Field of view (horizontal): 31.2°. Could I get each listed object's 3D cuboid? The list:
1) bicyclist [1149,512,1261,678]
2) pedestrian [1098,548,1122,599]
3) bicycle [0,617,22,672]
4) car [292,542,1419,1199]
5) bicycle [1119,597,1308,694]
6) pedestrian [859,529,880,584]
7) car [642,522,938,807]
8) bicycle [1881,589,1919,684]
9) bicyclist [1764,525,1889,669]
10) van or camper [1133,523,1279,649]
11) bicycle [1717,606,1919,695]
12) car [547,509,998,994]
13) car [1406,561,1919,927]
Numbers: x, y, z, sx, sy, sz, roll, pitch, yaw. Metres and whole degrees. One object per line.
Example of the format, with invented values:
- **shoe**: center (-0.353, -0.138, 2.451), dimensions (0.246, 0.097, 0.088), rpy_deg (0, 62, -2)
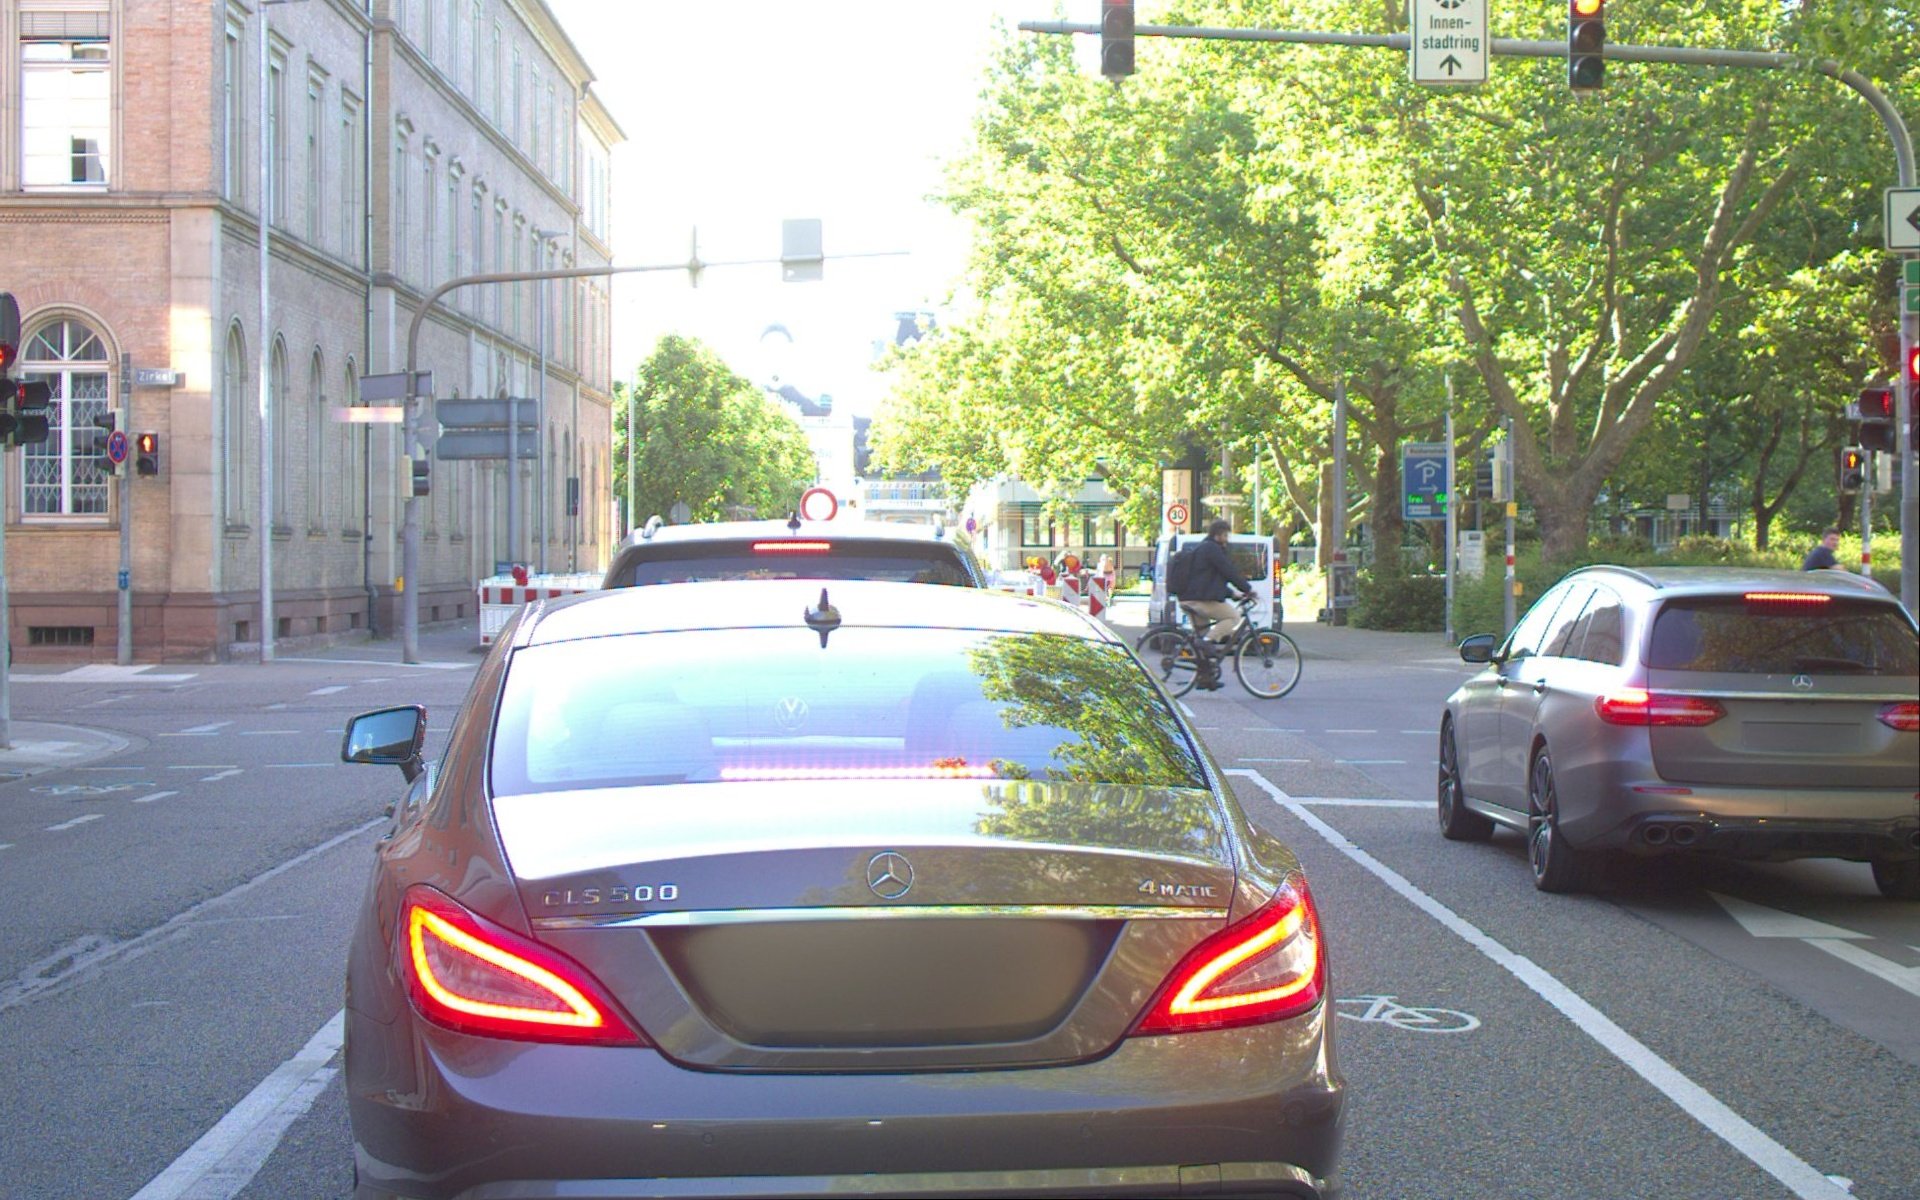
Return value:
- **bicyclist**: center (2.447, -0.050, 34.401), dimensions (1.014, 1.637, 0.608), rpy_deg (0, 1, -6)
- **pedestrian**: center (4.234, -0.762, 96.978), dimensions (0.648, 1.428, 0.659), rpy_deg (0, 1, -1)
- **bicycle**: center (-12.003, 0.528, 40.840), dimensions (1.587, 0.632, 0.496), rpy_deg (0, 1, 3)
- **car**: center (-0.440, 0.607, 7.656), dimensions (1.803, 1.451, 4.352), rpy_deg (0, 1, -8)
- **bicycle**: center (2.534, 0.454, 34.414), dimensions (1.793, 0.943, 0.614), rpy_deg (1, 1, -6)
- **pedestrian**: center (-3.161, -1.523, 120.261), dimensions (0.721, 1.895, 0.704), rpy_deg (1, 1, -1)
- **car**: center (-1.074, 0.364, 23.256), dimensions (1.820, 1.756, 4.000), rpy_deg (0, 1, -1)
- **bicycle**: center (11.196, 0.404, 37.742), dimensions (1.980, 1.024, 0.651), rpy_deg (0, 1, 1)
- **bicyclist**: center (9.070, -0.039, 36.020), dimensions (1.116, 1.485, 0.712), rpy_deg (0, 1, -1)
- **van or camper**: center (3.926, -0.249, 55.587), dimensions (1.993, 1.935, 4.594), rpy_deg (1, 1, 0)
- **bicycle**: center (9.010, 0.526, 36.016), dimensions (1.986, 0.900, 0.734), rpy_deg (0, 1, -1)
- **car**: center (-0.727, 0.485, 13.655), dimensions (1.517, 1.641, 3.881), rpy_deg (1, 1, -3)
- **car**: center (3.449, 0.575, 16.549), dimensions (1.913, 1.459, 4.669), rpy_deg (1, 1, -1)
